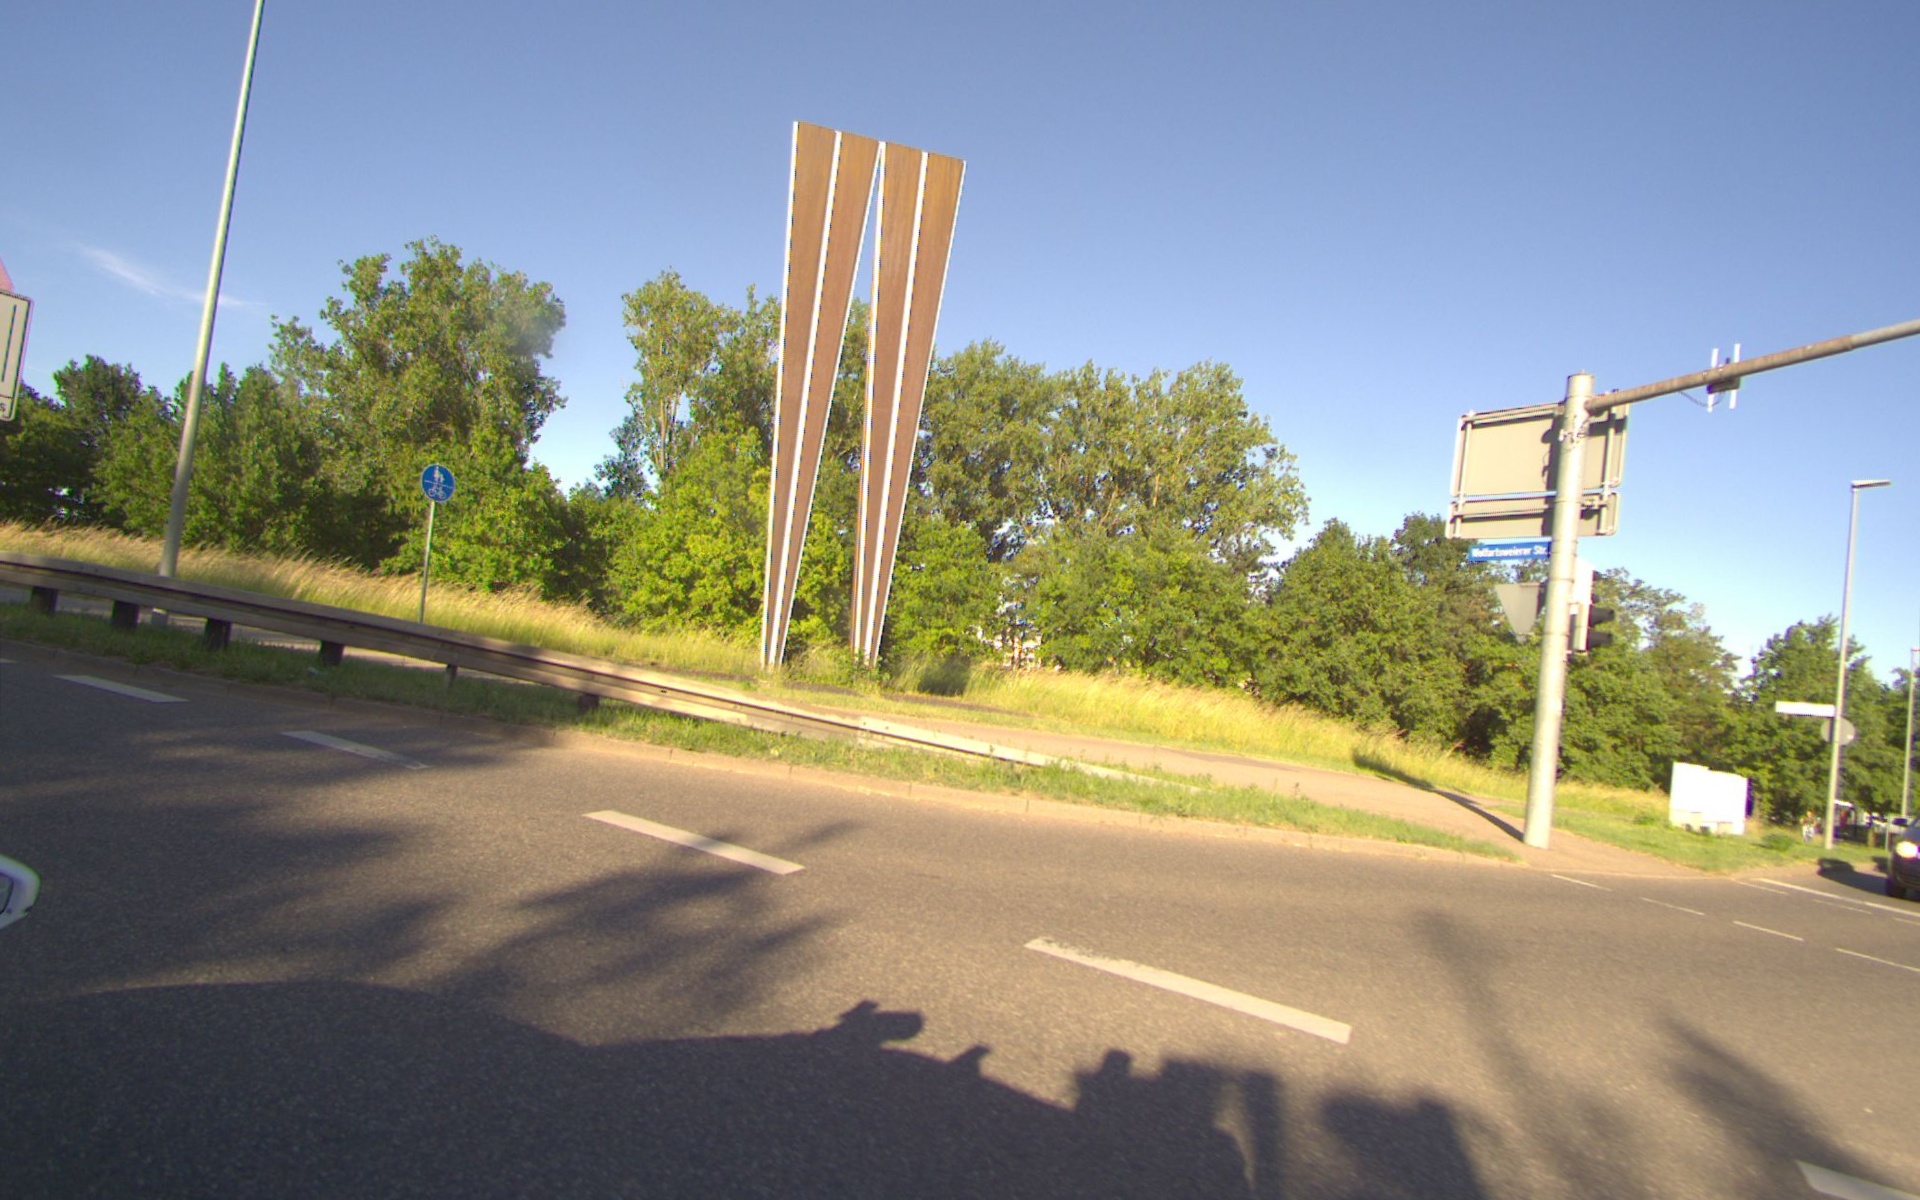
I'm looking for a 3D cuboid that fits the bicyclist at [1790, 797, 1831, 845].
[{"bbox_3d":[40.918,10.639,48.401,0.871,2.035,1.181,11,-3,-39],"label":"bicyclist"}]

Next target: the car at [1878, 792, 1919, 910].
[{"bbox_3d":[14.149,3.519,13.705,3.960,1.430,1.825,9,-2,-40],"label":"car"}]

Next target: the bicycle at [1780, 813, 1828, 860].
[{"bbox_3d":[40.830,11.450,48.636,3.446,1.880,1.170,15,-6,-41],"label":"bicycle"}]
